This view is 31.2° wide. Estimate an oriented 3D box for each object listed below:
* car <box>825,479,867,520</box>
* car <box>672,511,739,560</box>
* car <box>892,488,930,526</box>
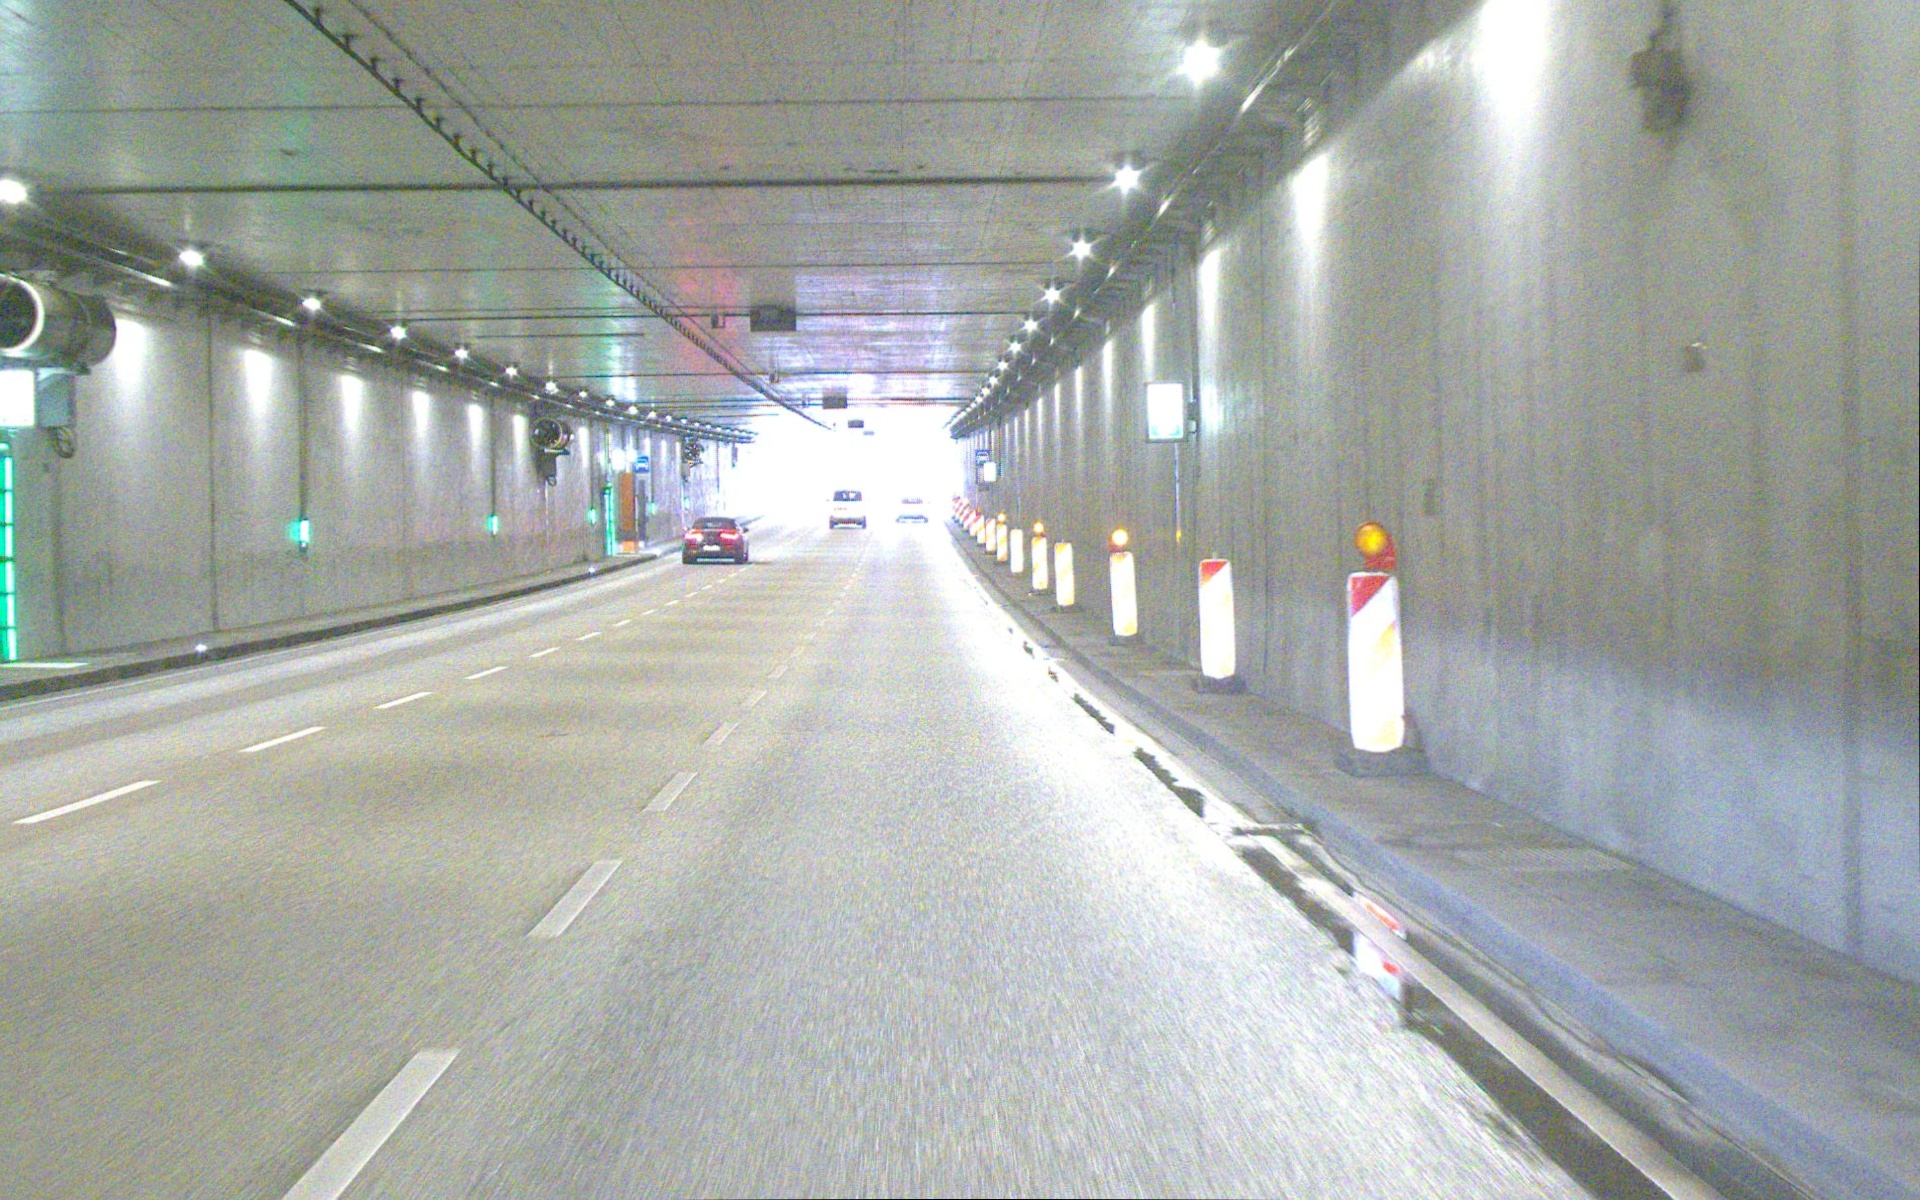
[{"bbox_3d":[-5.597,-4.940,169.250,1.993,2.007,4.000,0,1,-1],"label":"car"},{"bbox_3d":[-7.839,-1.993,105.780,1.993,1.443,4.315,1,1,-5],"label":"car"},{"bbox_3d":[-2.650,-5.030,186.465,1.993,2.007,4.000,0,1,-1],"label":"car"}]
